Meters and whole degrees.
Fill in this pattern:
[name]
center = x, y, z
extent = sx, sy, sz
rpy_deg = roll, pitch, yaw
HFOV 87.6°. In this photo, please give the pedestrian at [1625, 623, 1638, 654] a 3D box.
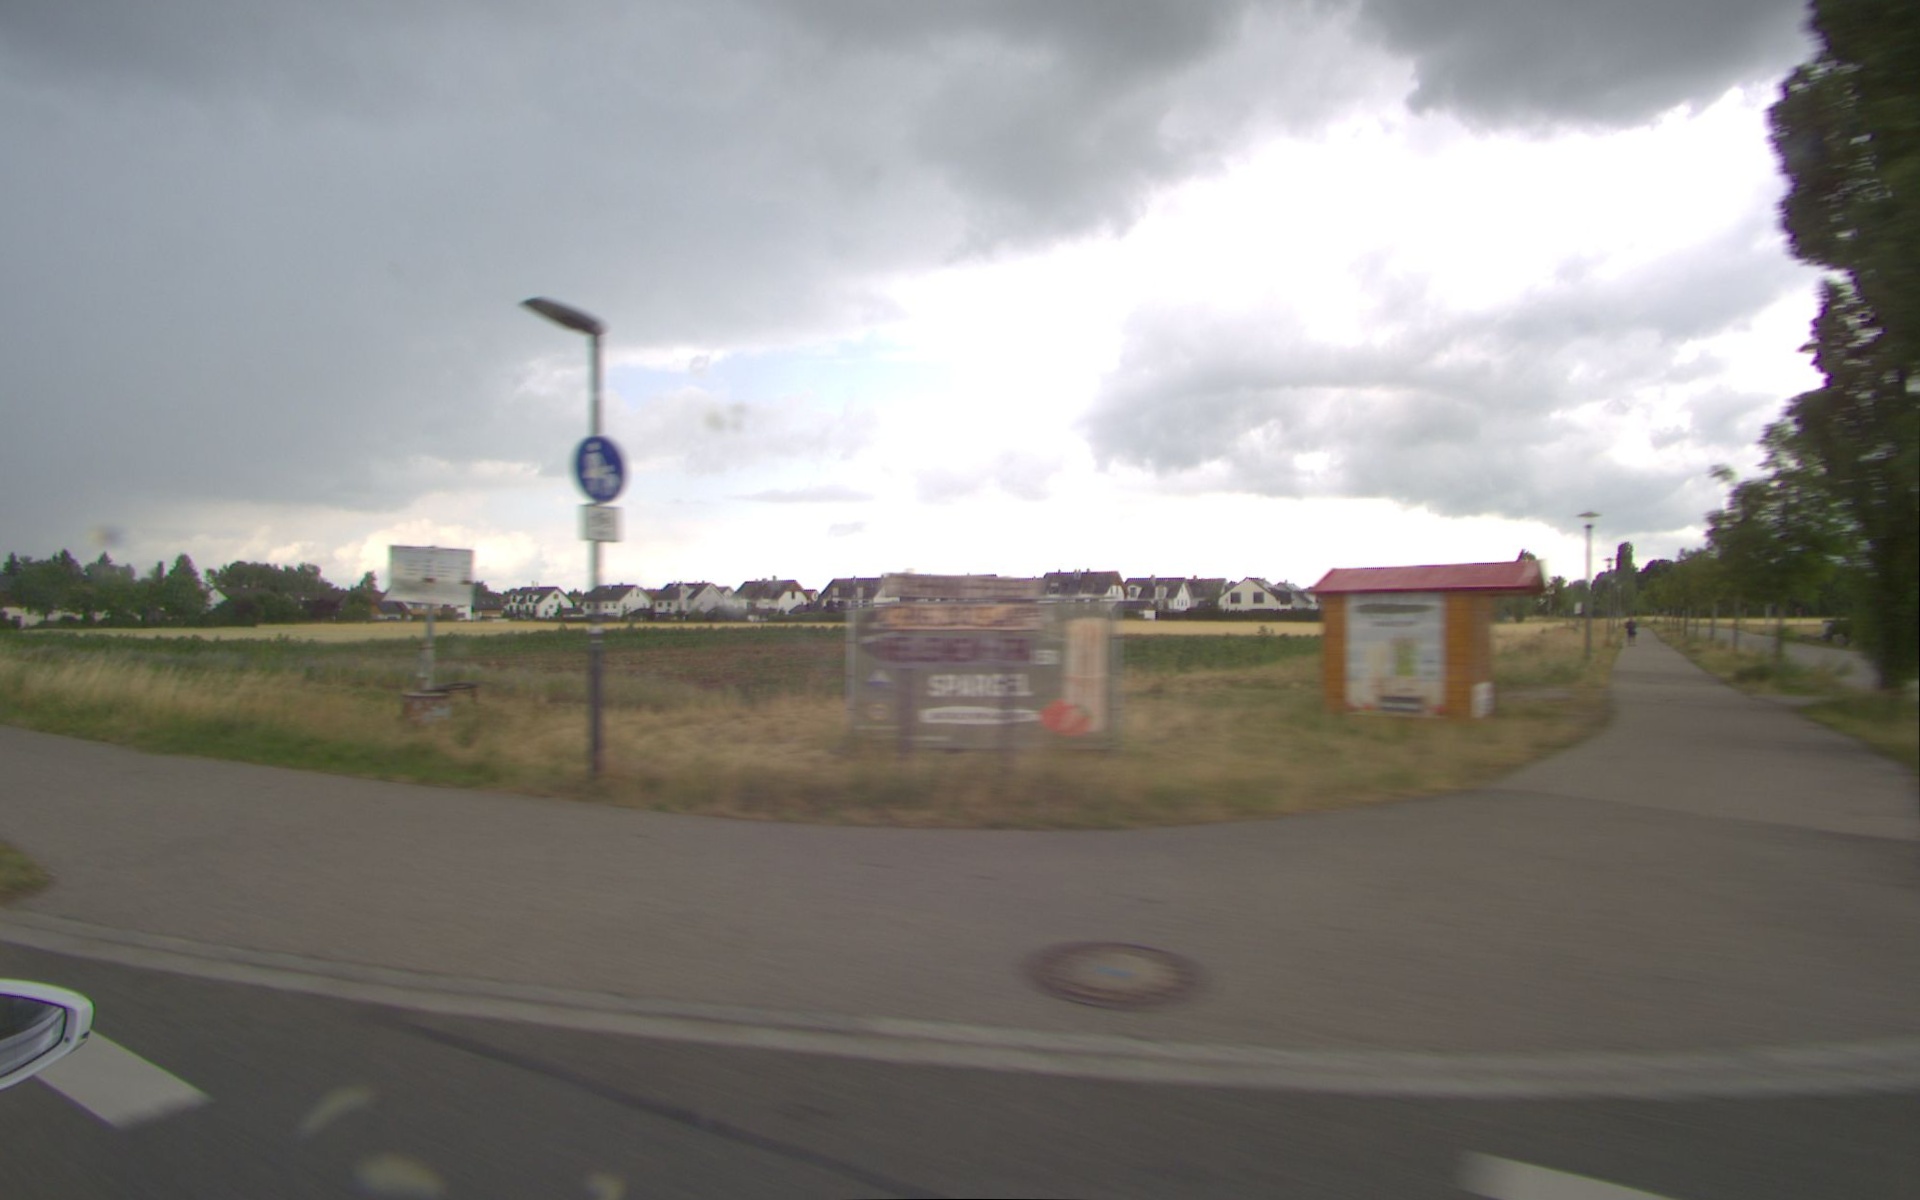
[pedestrian]
center = 40.070, 2.289, 59.746
extent = 0.591, 1.785, 0.480
rpy_deg = 0, 2, 32
